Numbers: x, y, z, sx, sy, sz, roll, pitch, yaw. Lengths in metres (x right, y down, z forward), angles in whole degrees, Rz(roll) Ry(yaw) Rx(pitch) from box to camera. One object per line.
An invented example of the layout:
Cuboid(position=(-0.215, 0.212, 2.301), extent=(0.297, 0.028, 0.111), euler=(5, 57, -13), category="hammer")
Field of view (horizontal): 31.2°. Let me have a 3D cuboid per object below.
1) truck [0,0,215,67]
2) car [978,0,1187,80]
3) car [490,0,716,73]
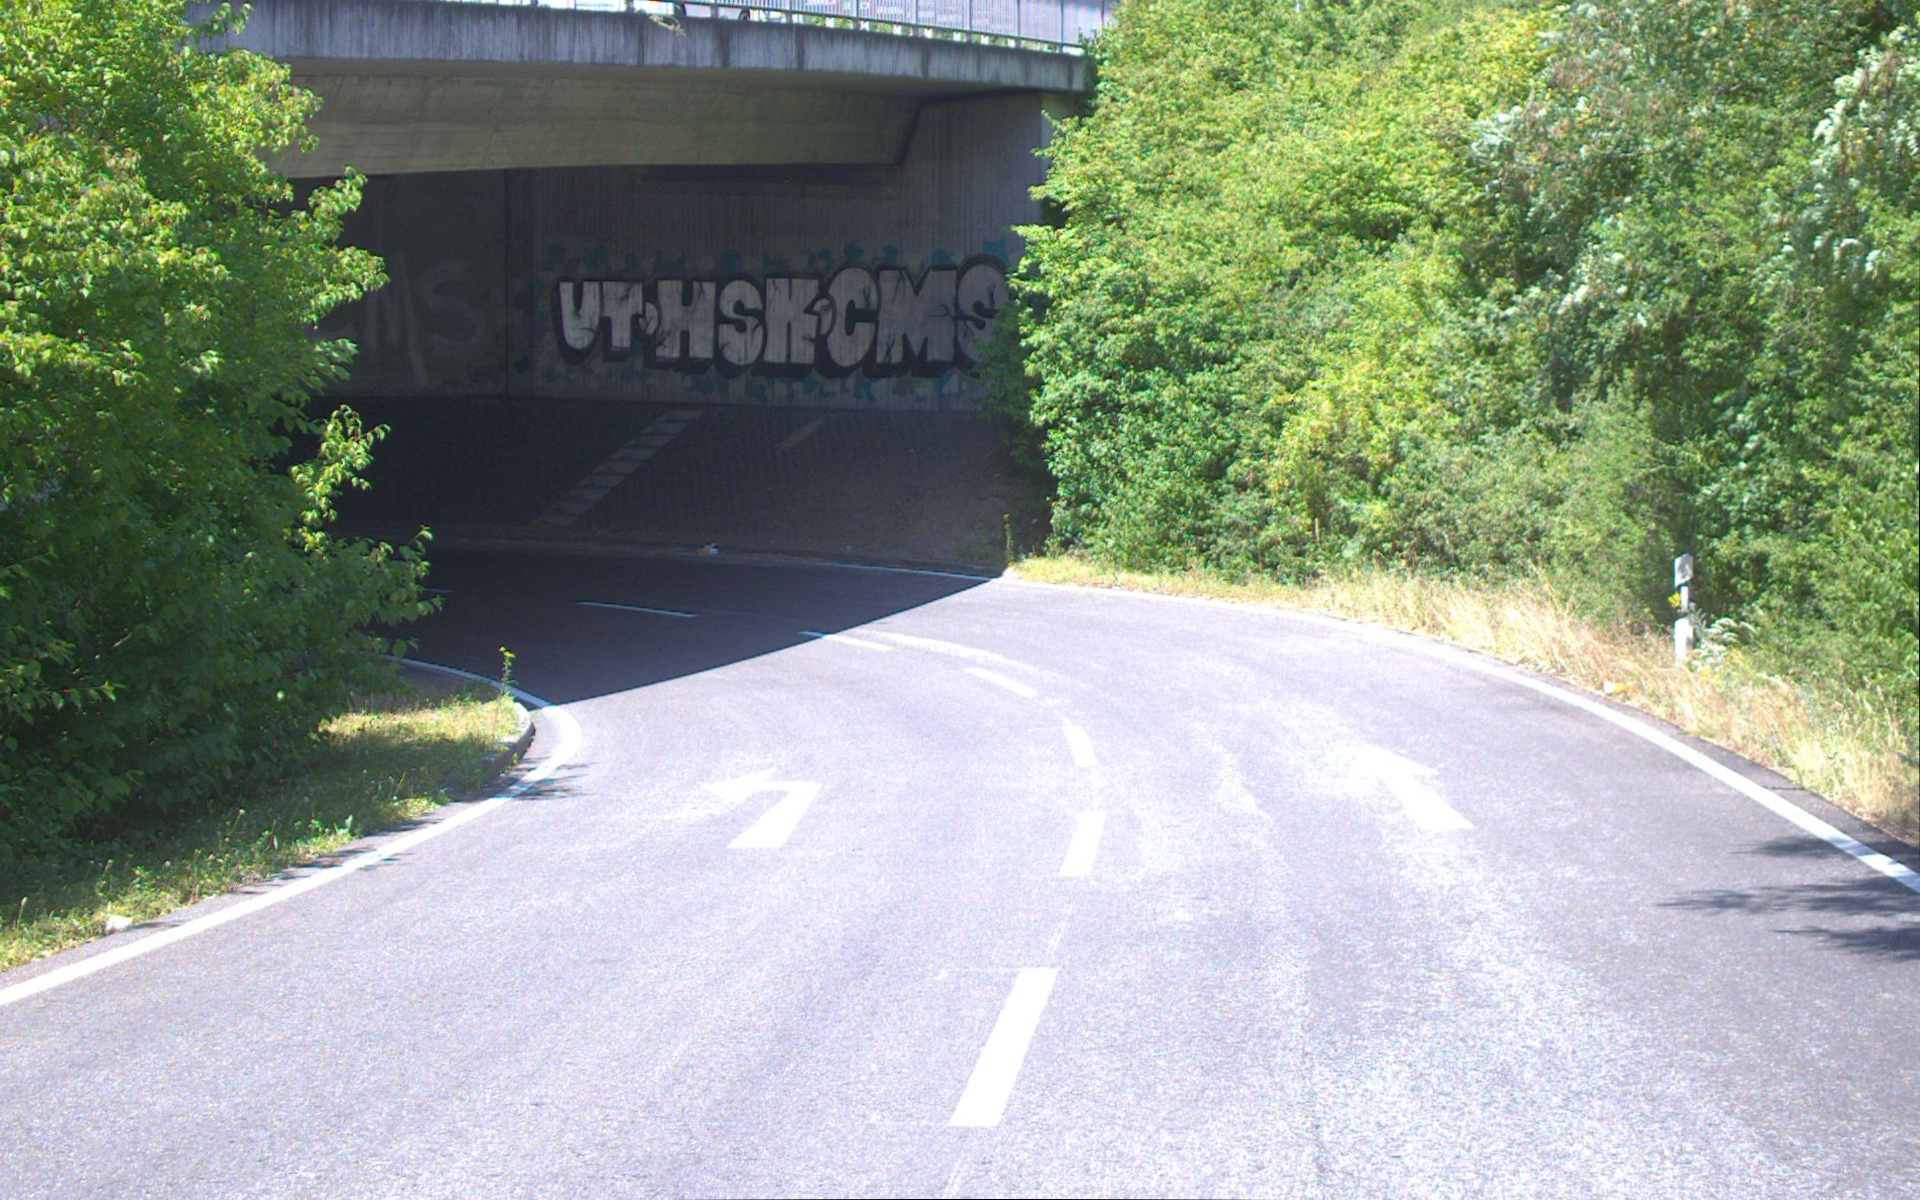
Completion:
Cuboid(position=(-14.900, -10.294, 52.680), extent=(3.029, 3.576, 8.899), euler=(1, 5, 15), category="truck")
Cuboid(position=(2.206, -10.370, 60.964), extent=(1.997, 2.006, 3.994), euler=(2, 6, 31), category="car")
Cuboid(position=(-4.430, -7.335, 43.089), extent=(1.613, 1.185, 3.477), euler=(1, 5, 17), category="car")
